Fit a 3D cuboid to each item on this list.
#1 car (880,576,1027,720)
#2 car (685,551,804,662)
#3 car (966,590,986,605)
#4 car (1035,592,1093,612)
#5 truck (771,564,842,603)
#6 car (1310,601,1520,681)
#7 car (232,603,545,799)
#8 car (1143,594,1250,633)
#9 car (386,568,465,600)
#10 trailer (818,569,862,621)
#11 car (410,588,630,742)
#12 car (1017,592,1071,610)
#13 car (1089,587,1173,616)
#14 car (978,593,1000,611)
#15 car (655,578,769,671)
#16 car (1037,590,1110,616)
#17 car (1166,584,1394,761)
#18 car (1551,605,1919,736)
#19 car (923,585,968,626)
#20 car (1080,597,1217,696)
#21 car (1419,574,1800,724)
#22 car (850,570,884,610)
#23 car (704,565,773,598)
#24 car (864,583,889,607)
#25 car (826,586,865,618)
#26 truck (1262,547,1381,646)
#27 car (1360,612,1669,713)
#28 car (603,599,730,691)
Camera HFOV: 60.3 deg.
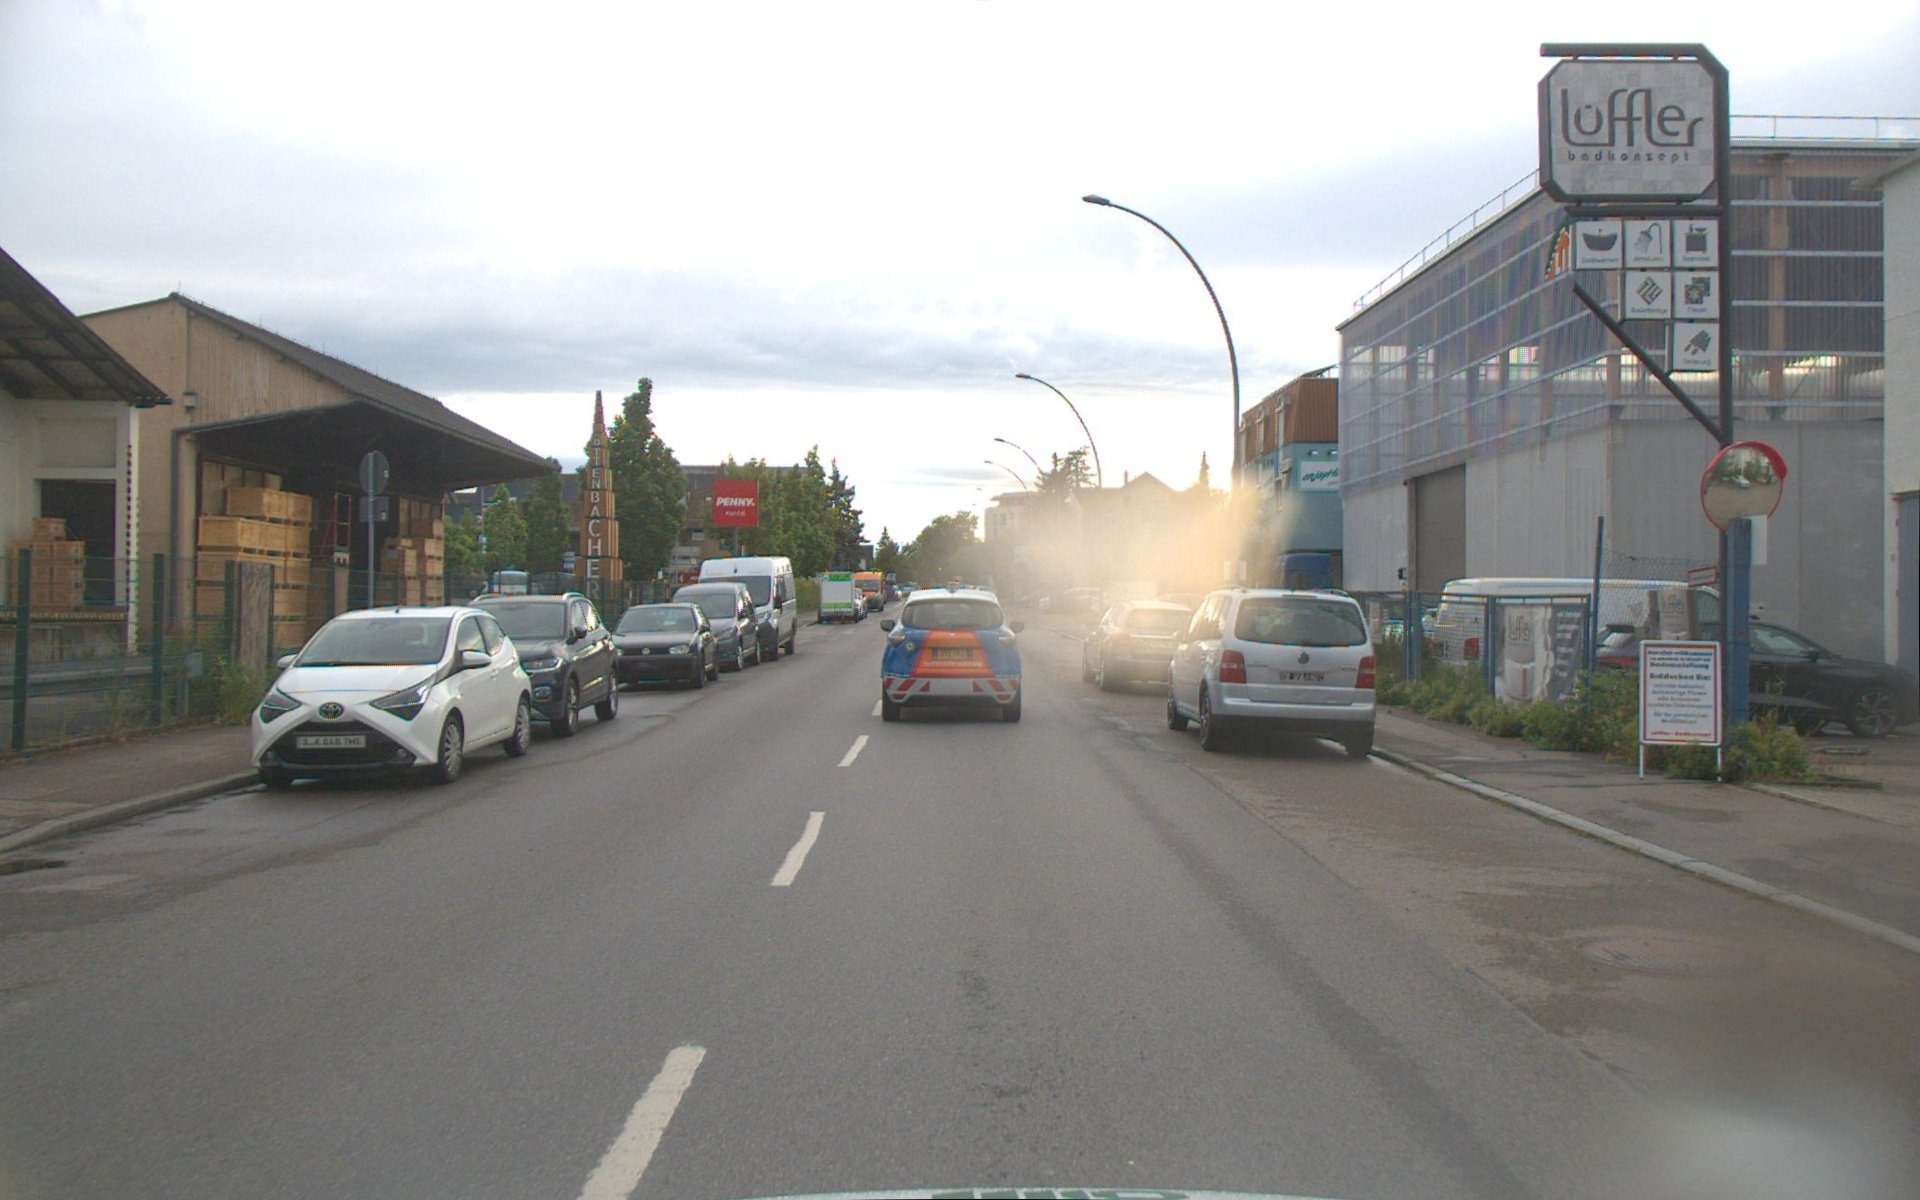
[{"bbox_3d":[-0.117,0.564,20.927,1.696,1.659,3.493,0,0,-2],"label":"car"},{"bbox_3d":[-5.287,0.129,41.447,2.114,2.469,6.458,-2,0,-1],"label":"car"},{"bbox_3d":[1.592,-0.231,162.829,1.677,1.463,4.523,2,0,-3],"label":"car"},{"bbox_3d":[7.154,0.137,114.109,3.905,1.288,1.951,2,0,1],"label":"car"},{"bbox_3d":[-13.283,-1.406,143.198,5.791,3.127,2.449,2,0,0],"label":"truck"},{"bbox_3d":[10.114,0.902,36.950,4.157,1.563,1.811,2,0,-1],"label":"car"},{"bbox_3d":[-5.033,0.812,15.070,1.583,1.535,3.660,-1,0,0],"label":"car"},{"bbox_3d":[9.196,0.527,64.564,3.907,1.455,1.630,1,0,-2],"label":"car"},{"bbox_3d":[-30.115,-0.904,93.323,3.912,1.634,1.769,2,0,-8],"label":"car"},{"bbox_3d":[-5.673,-0.240,78.824,1.776,2.354,4.729,-2,0,-1],"label":"trailer"},{"bbox_3d":[-5.109,0.702,19.692,1.627,1.612,3.915,-1,0,-1],"label":"car"},{"bbox_3d":[6.354,0.073,125.772,3.907,1.288,1.950,2,0,-3],"label":"car"},{"bbox_3d":[9.318,0.071,90.483,4.326,1.417,1.879,2,0,-2],"label":"car"},{"bbox_3d":[2.286,0.134,131.075,1.557,1.364,4.091,0,0,-2],"label":"car"},{"bbox_3d":[-5.269,0.498,35.655,1.733,1.799,4.446,-3,0,0],"label":"car"},{"bbox_3d":[6.929,0.177,100.942,4.250,1.501,1.902,1,0,-2],"label":"car"},{"bbox_3d":[3.360,0.705,18.137,1.703,1.650,4.373,2,0,1],"label":"car"},{"bbox_3d":[9.940,0.864,21.176,4.020,1.482,2.000,2,0,-1],"label":"car"},{"bbox_3d":[-0.597,0.220,65.429,1.617,1.548,3.998,2,0,-2],"label":"car"},{"bbox_3d":[3.100,0.723,27.988,1.703,1.492,4.545,2,0,-1],"label":"car"},{"bbox_3d":[9.186,0.673,23.673,4.635,1.919,2.000,2,0,-1],"label":"car"},{"bbox_3d":[-6.080,-0.681,108.859,2.082,2.582,6.020,-1,1,-2],"label":"car"},{"bbox_3d":[-14.682,-1.205,109.745,4.218,2.049,2.062,2,0,-1],"label":"car"},{"bbox_3d":[-7.105,-0.402,140.788,1.953,1.981,5.364,1,0,-1],"label":"car"},{"bbox_3d":[-5.764,0.063,83.688,1.736,1.525,4.136,0,1,-1],"label":"car"},{"bbox_3d":[14.931,-0.127,68.542,4.062,3.737,2.718,4,0,-3],"label":"truck"},{"bbox_3d":[8.697,0.965,26.179,4.233,1.403,1.850,2,0,-2],"label":"car"},{"bbox_3d":[-5.102,0.740,29.216,1.628,1.474,4.315,-1,0,-2],"label":"car"}]
